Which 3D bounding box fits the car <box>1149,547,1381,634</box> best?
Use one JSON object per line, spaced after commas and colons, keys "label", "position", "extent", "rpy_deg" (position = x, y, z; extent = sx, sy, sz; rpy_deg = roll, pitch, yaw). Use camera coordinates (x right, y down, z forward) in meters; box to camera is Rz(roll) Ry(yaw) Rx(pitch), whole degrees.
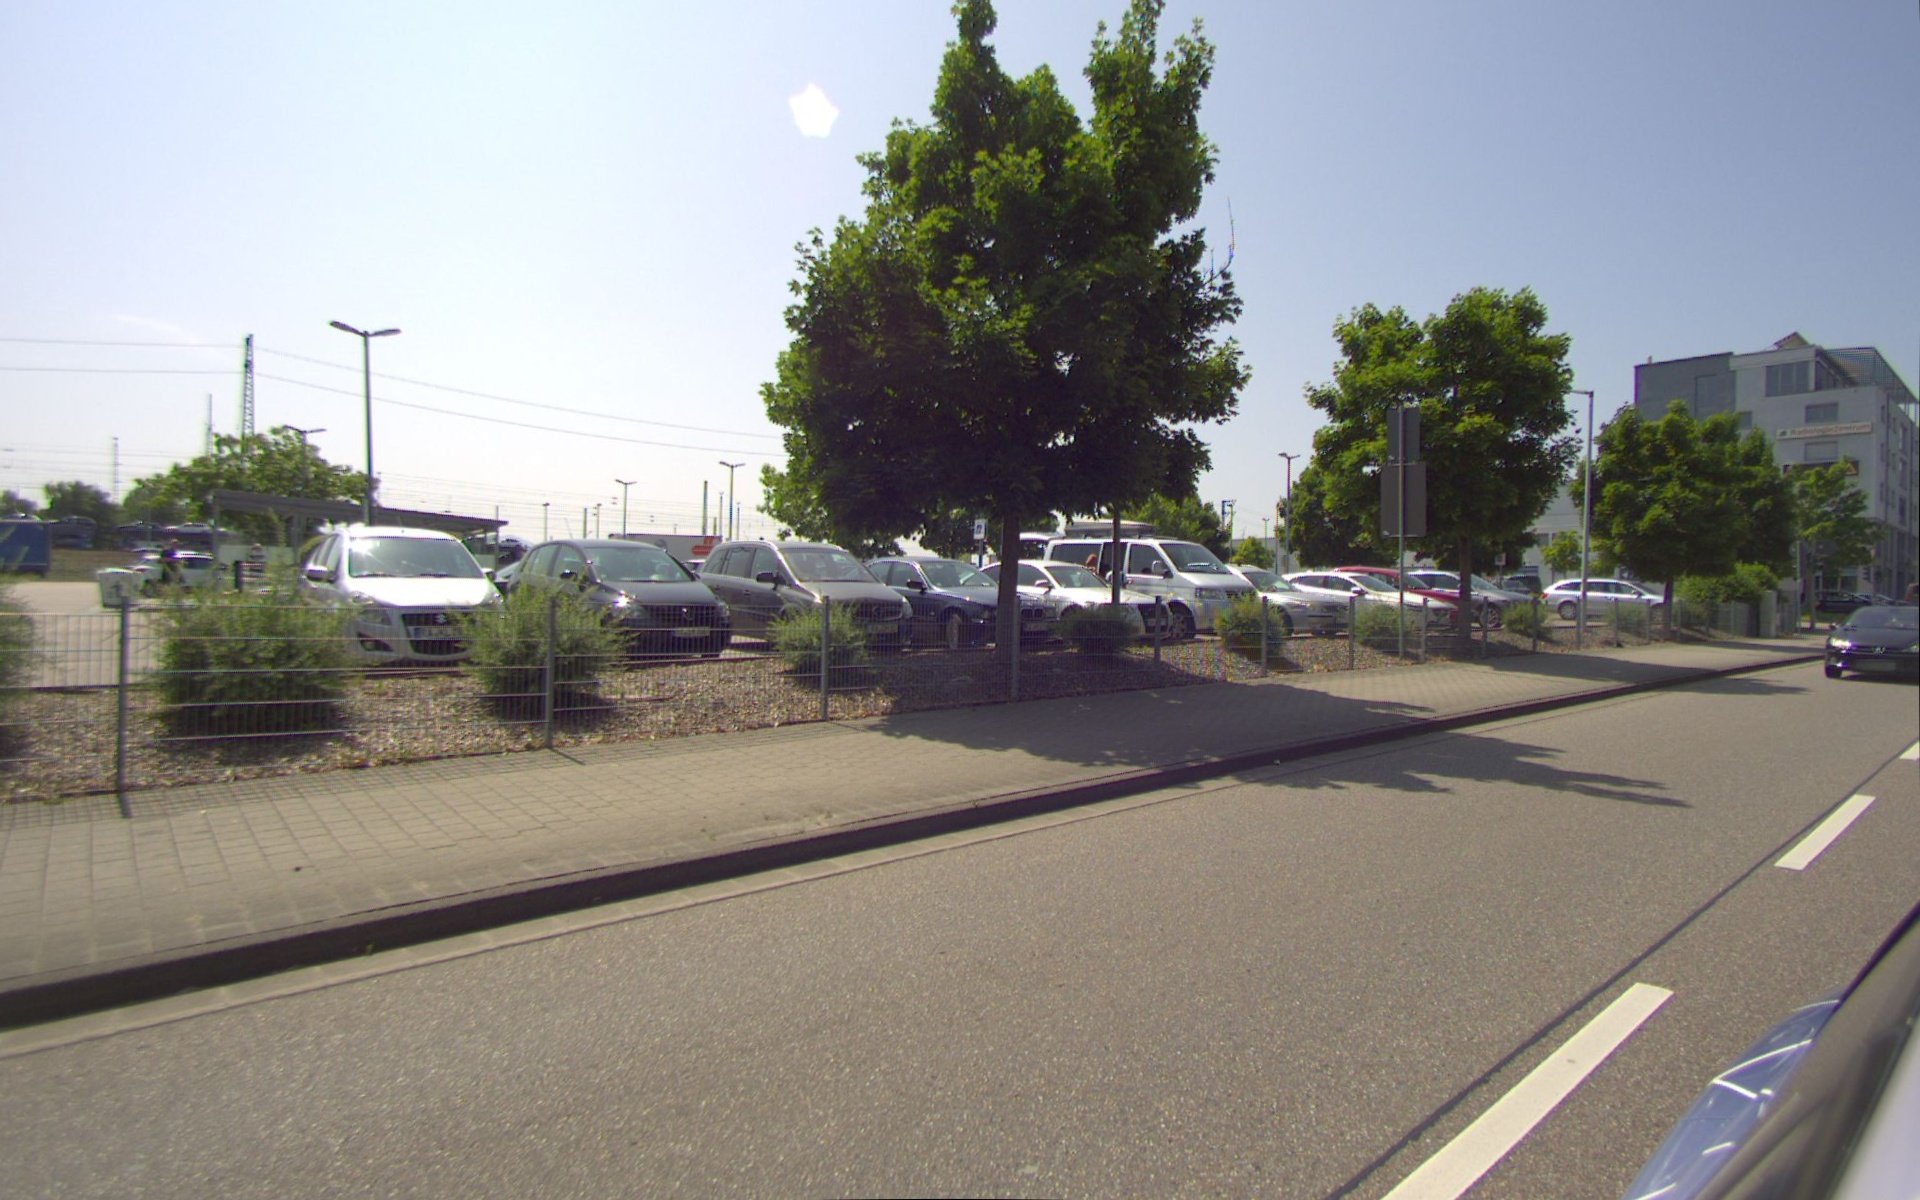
{"label": "car", "position": [6.199, -0.227, 21.014], "extent": [1.794, 1.613, 4.377], "rpy_deg": [1, 1, -39]}

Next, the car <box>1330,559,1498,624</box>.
{"label": "car", "position": [11.713, -0.247, 26.236], "extent": [1.693, 1.556, 3.595], "rpy_deg": [1, 1, -41]}

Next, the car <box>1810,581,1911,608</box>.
{"label": "car", "position": [50.899, -0.333, 57.260], "extent": [1.830, 1.356, 3.996], "rpy_deg": [0, 2, -40]}

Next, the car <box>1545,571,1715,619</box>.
{"label": "car", "position": [22.880, -0.213, 34.703], "extent": [1.667, 1.524, 4.586], "rpy_deg": [1, 1, -40]}

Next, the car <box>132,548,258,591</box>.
{"label": "car", "position": [-32.805, -1.307, 43.510], "extent": [4.243, 1.739, 1.759], "rpy_deg": [0, 2, -38]}

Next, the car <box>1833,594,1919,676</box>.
{"label": "car", "position": [17.836, 0.623, 18.962], "extent": [3.437, 1.373, 1.641], "rpy_deg": [0, 3, -40]}

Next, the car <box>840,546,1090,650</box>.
{"label": "car", "position": [-0.042, -0.066, 15.850], "extent": [1.794, 1.407, 3.997], "rpy_deg": [1, 1, -39]}

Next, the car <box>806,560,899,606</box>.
{"label": "car", "position": [-3.589, -0.562, 34.045], "extent": [2.906, 1.437, 1.267], "rpy_deg": [0, 2, -41]}

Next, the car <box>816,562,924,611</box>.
{"label": "car", "position": [-2.763, -0.422, 31.542], "extent": [3.196, 1.437, 1.267], "rpy_deg": [0, 2, -41]}

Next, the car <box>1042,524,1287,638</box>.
{"label": "car", "position": [3.849, -0.376, 19.794], "extent": [1.794, 1.948, 4.628], "rpy_deg": [1, 1, -39]}

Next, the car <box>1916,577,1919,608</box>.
{"label": "car", "position": [58.780, -0.483, 58.513], "extent": [2.141, 1.821, 4.708], "rpy_deg": [1, -2, -35]}

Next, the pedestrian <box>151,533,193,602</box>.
{"label": "pedestrian", "position": [-21.879, -0.906, 28.099], "extent": [0.563, 1.872, 0.815], "rpy_deg": [1, 1, -7]}

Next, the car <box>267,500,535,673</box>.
{"label": "car", "position": [-6.492, -0.103, 11.562], "extent": [1.796, 1.616, 3.991], "rpy_deg": [0, -1, -43]}

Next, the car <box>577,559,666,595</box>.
{"label": "car", "position": [-16.615, -1.130, 49.705], "extent": [3.785, 1.705, 1.786], "rpy_deg": [0, 2, -36]}

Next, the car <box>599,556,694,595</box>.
{"label": "car", "position": [-14.396, -1.134, 46.484], "extent": [3.785, 1.705, 1.786], "rpy_deg": [0, 2, -36]}

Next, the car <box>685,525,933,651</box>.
{"label": "car", "position": [-2.294, -0.207, 14.560], "extent": [1.794, 1.553, 3.997], "rpy_deg": [-1, 2, -39]}

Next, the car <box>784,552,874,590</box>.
{"label": "car", "position": [-6.081, -1.337, 47.119], "extent": [3.785, 1.705, 1.786], "rpy_deg": [0, 2, -36]}

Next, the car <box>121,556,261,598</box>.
{"label": "car", "position": [-27.694, -0.825, 36.548], "extent": [3.927, 1.432, 1.759], "rpy_deg": [0, 2, -38]}

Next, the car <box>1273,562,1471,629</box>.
{"label": "car", "position": [9.582, -0.142, 23.774], "extent": [1.667, 1.439, 4.005], "rpy_deg": [1, 1, -39]}

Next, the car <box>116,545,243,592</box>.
{"label": "car", "position": [-31.167, -1.239, 40.501], "extent": [3.927, 1.739, 1.759], "rpy_deg": [0, 2, -38]}

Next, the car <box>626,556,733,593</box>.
{"label": "car", "position": [-11.804, -1.061, 42.713], "extent": [3.930, 1.452, 1.827], "rpy_deg": [0, 2, -41]}

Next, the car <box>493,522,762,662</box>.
{"label": "car", "position": [-4.461, -0.153, 13.254], "extent": [1.797, 1.553, 3.990], "rpy_deg": [-1, 2, -44]}

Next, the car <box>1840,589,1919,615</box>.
{"label": "car", "position": [54.628, 0.111, 59.686], "extent": [1.725, 1.356, 3.880], "rpy_deg": [0, 2, -40]}

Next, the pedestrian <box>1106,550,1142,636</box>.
{"label": "pedestrian", "position": [3.016, -0.129, 18.587], "extent": [0.438, 1.544, 0.417], "rpy_deg": [1, 2, -36]}

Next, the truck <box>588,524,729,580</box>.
{"label": "truck", "position": [-22.858, -3.623, 77.082], "extent": [9.846, 3.885, 2.859], "rpy_deg": [0, 2, -37]}

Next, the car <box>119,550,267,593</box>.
{"label": "car", "position": [-25.959, -0.958, 34.354], "extent": [3.927, 1.371, 1.759], "rpy_deg": [0, 2, -38]}

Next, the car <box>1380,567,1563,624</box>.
{"label": "car", "position": [13.931, -0.163, 27.767], "extent": [1.666, 1.439, 4.182], "rpy_deg": [1, 1, -37]}

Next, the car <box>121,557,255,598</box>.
{"label": "car", "position": [-29.069, -0.837, 38.219], "extent": [3.927, 1.432, 1.759], "rpy_deg": [0, 2, -38]}

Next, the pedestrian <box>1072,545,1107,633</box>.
{"label": "pedestrian", "position": [2.427, -0.211, 19.006], "extent": [0.439, 1.635, 0.416], "rpy_deg": [0, 2, -44]}

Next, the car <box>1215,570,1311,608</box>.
{"label": "car", "position": [12.145, -0.464, 40.436], "extent": [4.007, 1.411, 1.739], "rpy_deg": [-1, 3, -40]}

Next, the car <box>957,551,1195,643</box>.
{"label": "car", "position": [1.896, -0.084, 17.539], "extent": [1.794, 1.407, 3.997], "rpy_deg": [1, 1, -39]}
